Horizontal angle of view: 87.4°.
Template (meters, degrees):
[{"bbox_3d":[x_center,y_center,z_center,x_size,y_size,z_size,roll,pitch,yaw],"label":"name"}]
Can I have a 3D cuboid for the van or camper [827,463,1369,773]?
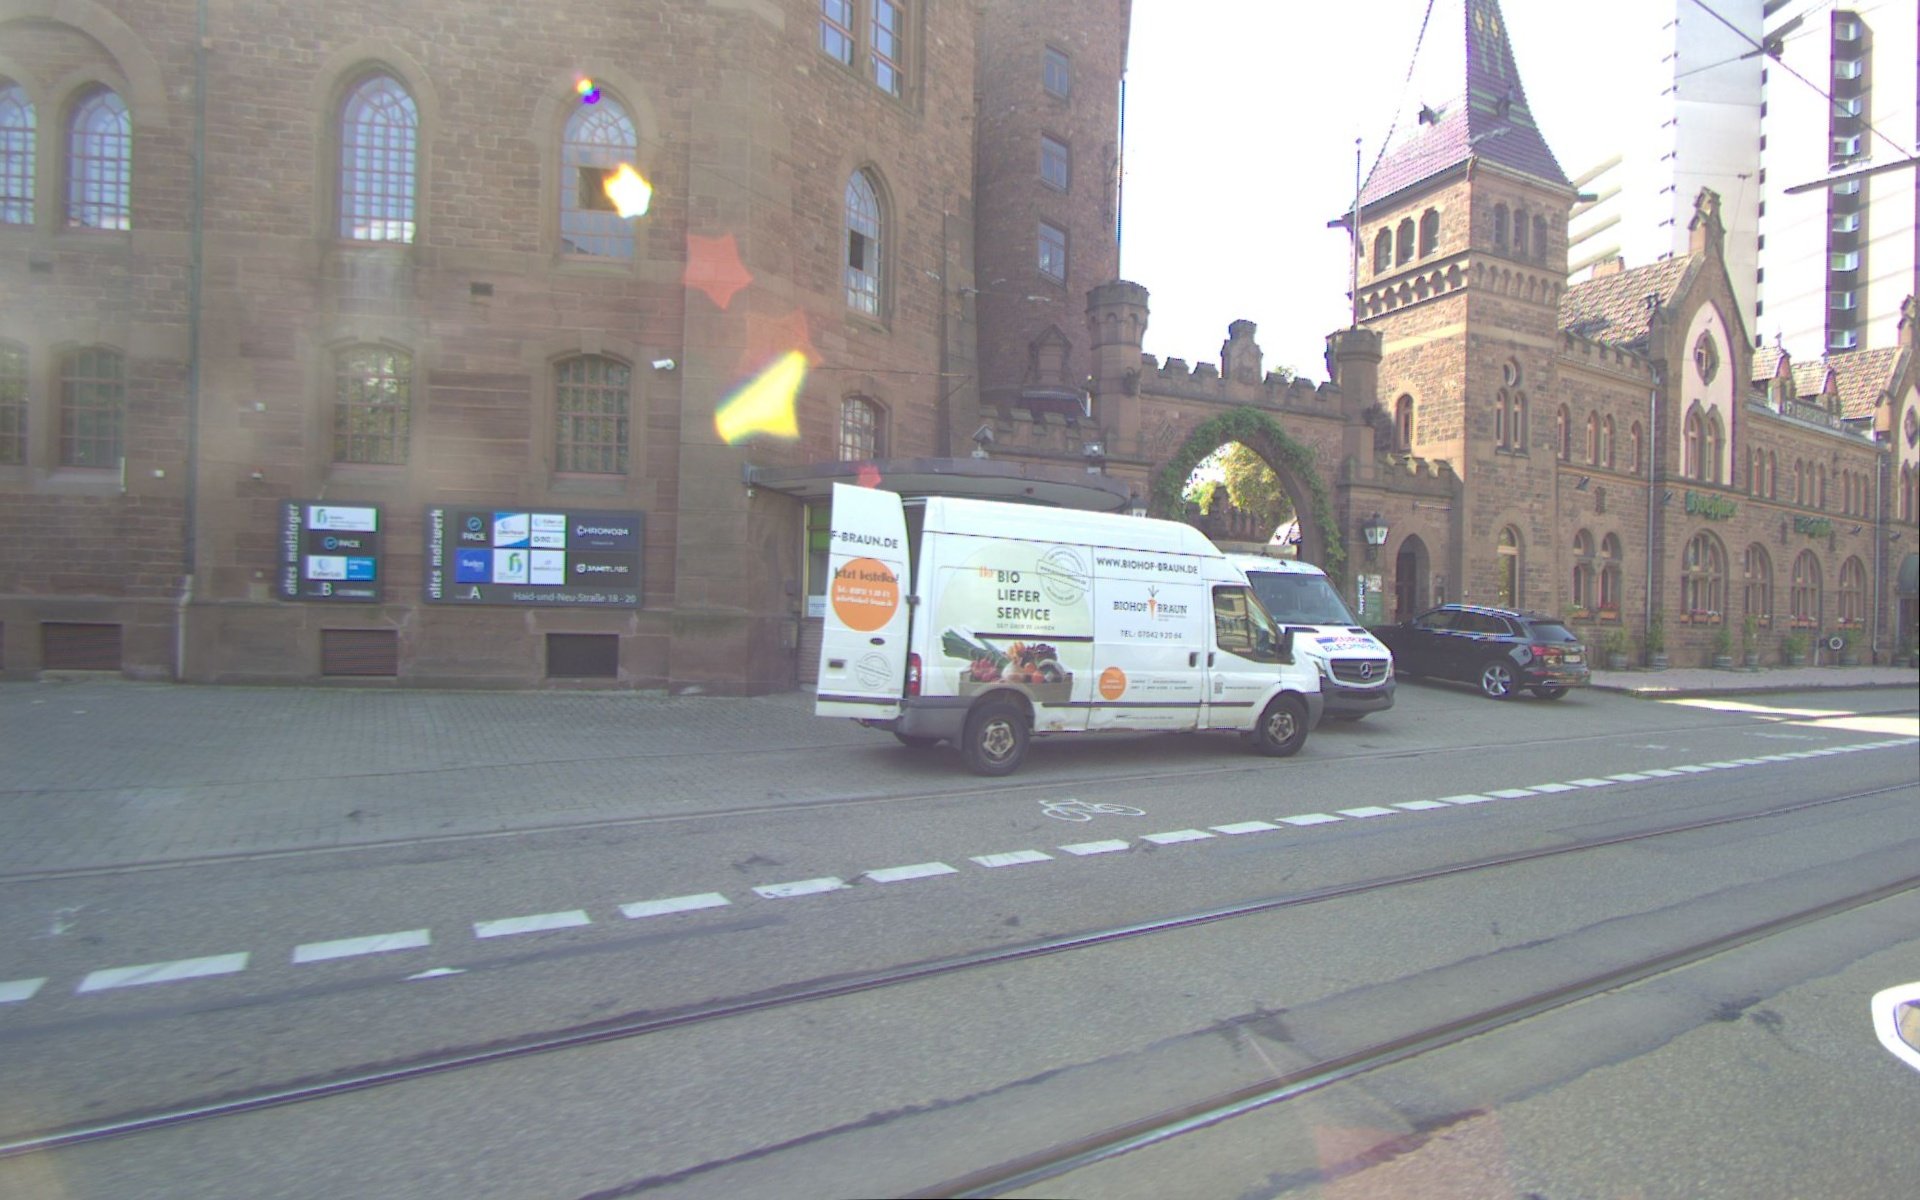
[{"bbox_3d":[1.682,0.231,11.176,5.884,2.711,2.103,2,0,-30],"label":"van or camper"}]

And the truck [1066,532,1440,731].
[{"bbox_3d":[4.286,0.245,16.252,2.102,2.573,6.299,0,3,-25],"label":"truck"}]

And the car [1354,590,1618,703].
[{"bbox_3d":[10.191,0.826,19.794,1.976,1.767,4.116,2,3,-29],"label":"car"}]
